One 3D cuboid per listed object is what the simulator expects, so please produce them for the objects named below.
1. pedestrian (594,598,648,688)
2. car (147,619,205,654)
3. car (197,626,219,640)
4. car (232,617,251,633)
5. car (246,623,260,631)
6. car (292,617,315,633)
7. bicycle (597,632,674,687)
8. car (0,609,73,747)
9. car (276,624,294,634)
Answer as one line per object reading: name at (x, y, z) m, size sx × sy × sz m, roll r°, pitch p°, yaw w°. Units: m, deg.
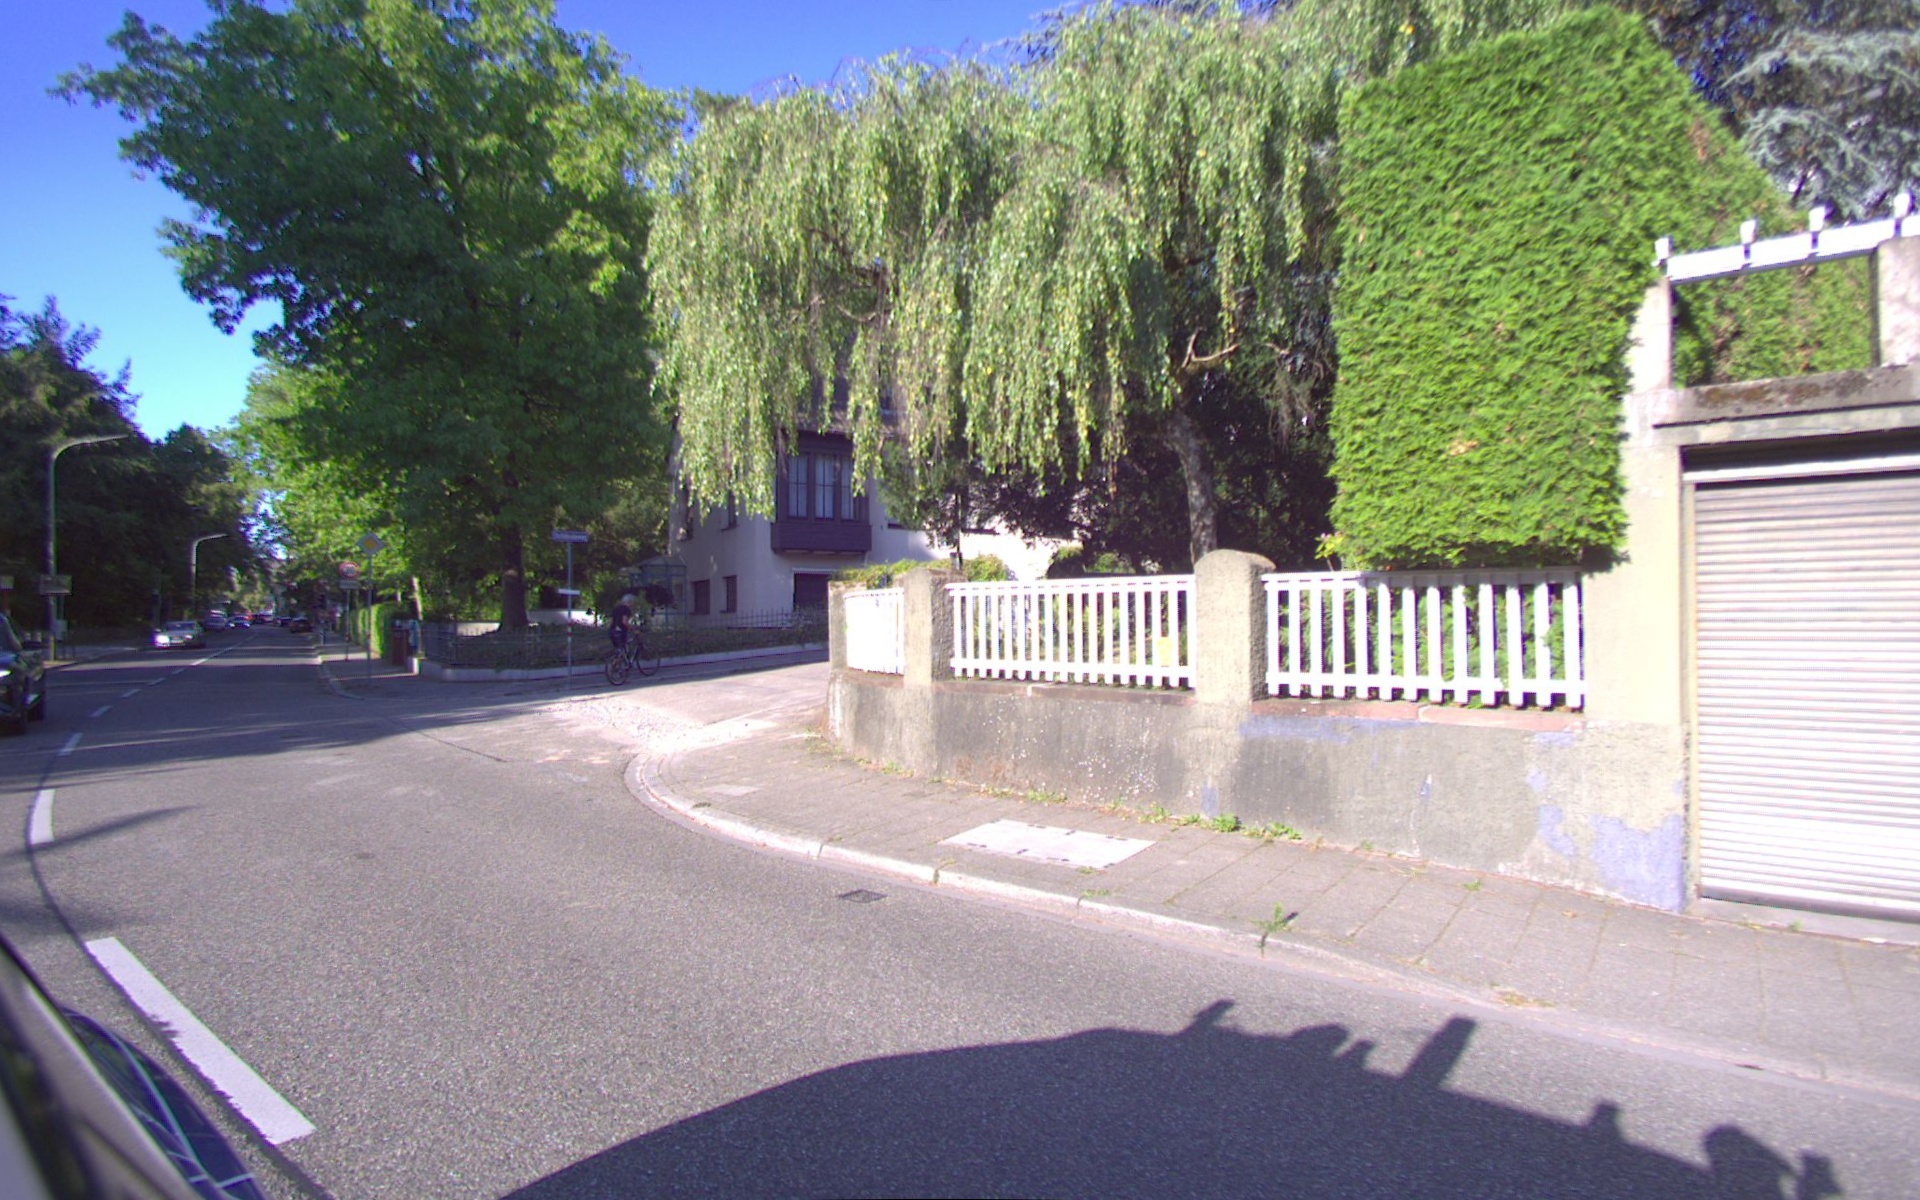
pedestrian at (-7.170, 0.902, 21.422) m, size 0.550 × 1.840 × 0.938 m, roll -4°, pitch -1°, yaw 18°
car at (-40.697, 1.862, 52.609) m, size 1.966 × 1.652 × 4.011 m, roll -2°, pitch 0°, yaw -32°
car at (-82.181, 3.587, 110.550) m, size 1.795 × 1.393 × 3.943 m, roll 4°, pitch -3°, yaw -38°
car at (-94.666, 3.297, 133.364) m, size 1.967 × 2.029 × 4.009 m, roll -1°, pitch -1°, yaw -37°
car at (-129.165, 4.988, 184.985) m, size 1.795 × 1.393 × 3.943 m, roll 4°, pitch -3°, yaw -38°
car at (-64.774, 2.487, 99.824) m, size 1.663 × 1.445 × 3.625 m, roll -3°, pitch 1°, yaw -35°
bicycle at (-6.871, 1.247, 21.541) m, size 0.557 × 1.051 × 1.806 m, roll -3°, pitch -1°, yaw 19°
car at (-13.793, 1.014, 13.848) m, size 1.905 × 1.699 × 4.443 m, roll 0°, pitch -2°, yaw -34°
car at (-97.697, 4.184, 146.442) m, size 1.795 × 1.393 × 3.943 m, roll 4°, pitch -3°, yaw -38°
